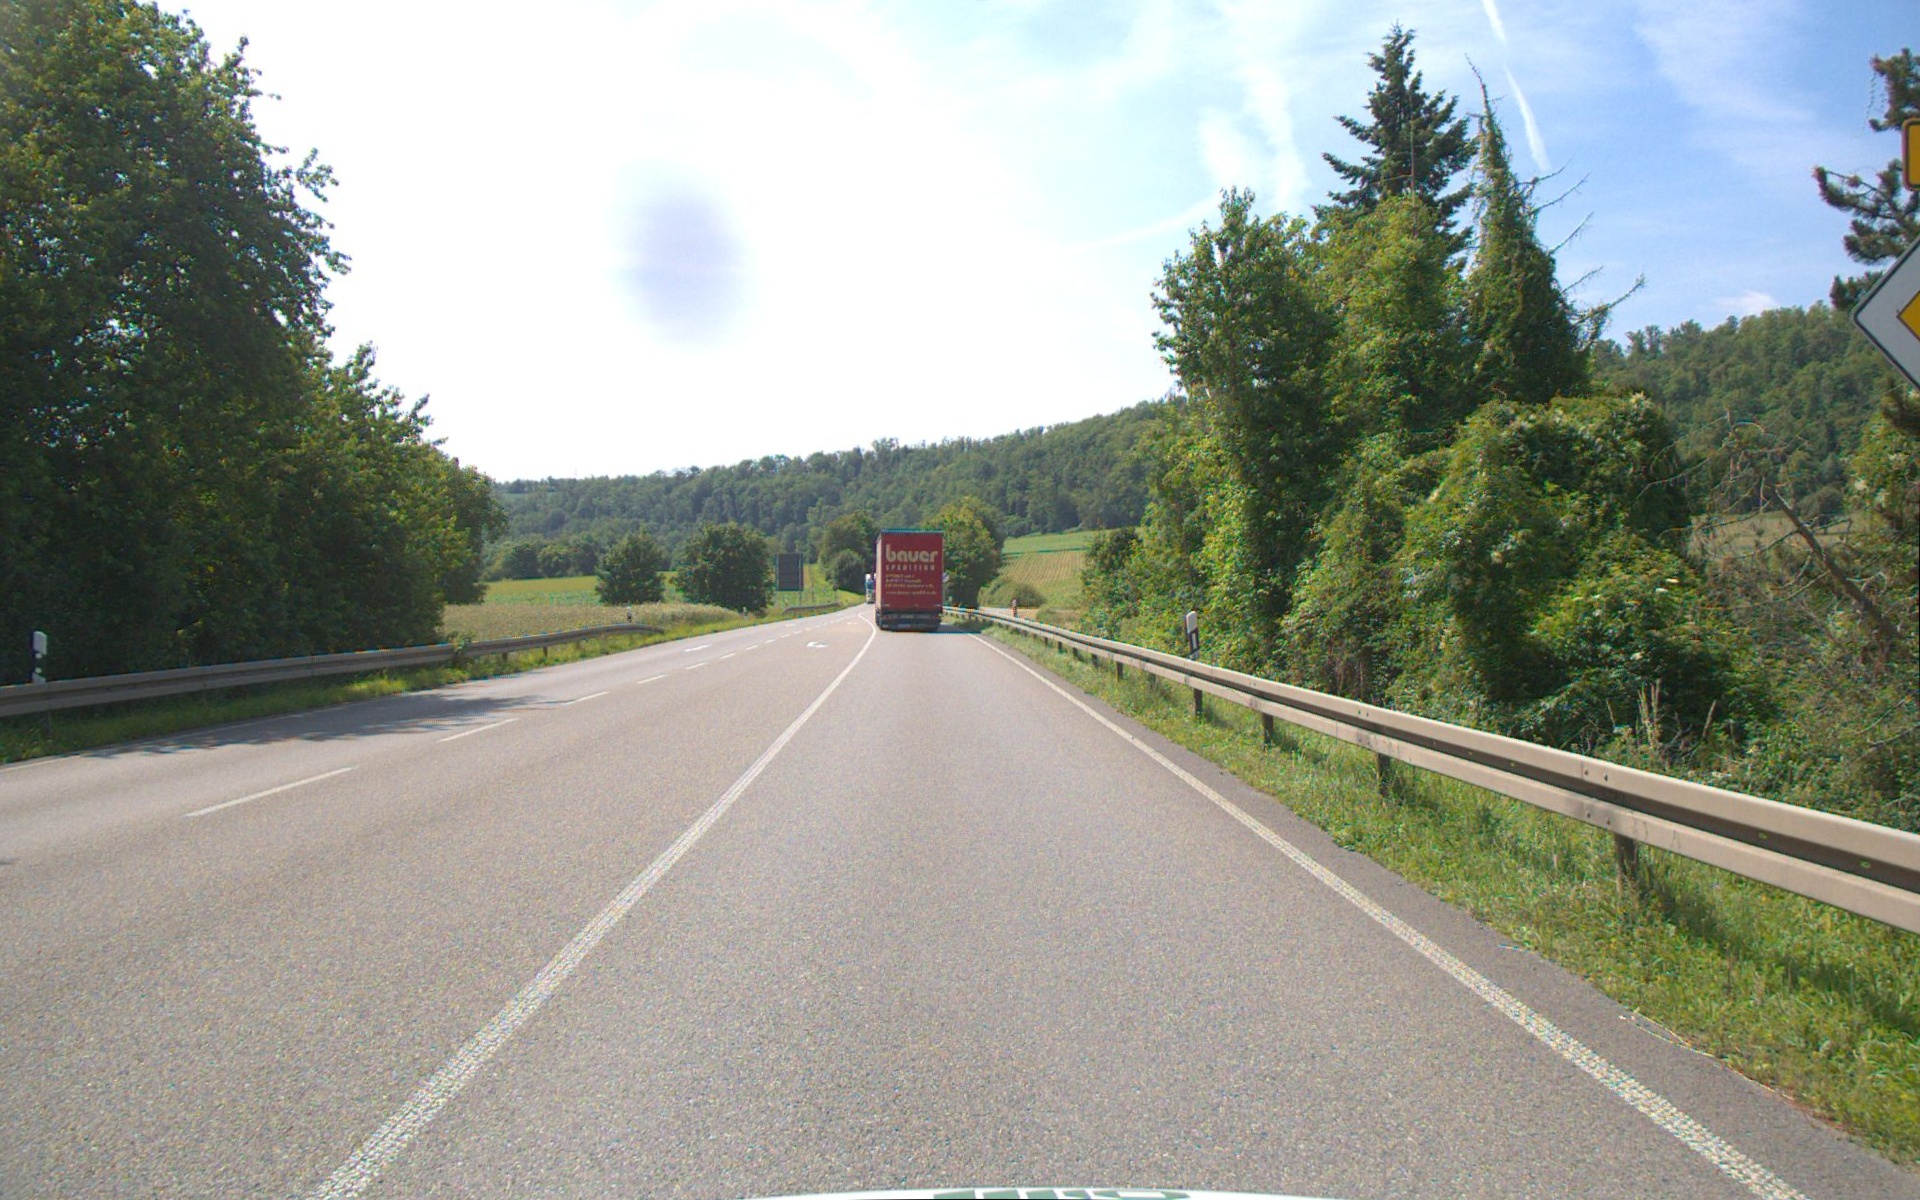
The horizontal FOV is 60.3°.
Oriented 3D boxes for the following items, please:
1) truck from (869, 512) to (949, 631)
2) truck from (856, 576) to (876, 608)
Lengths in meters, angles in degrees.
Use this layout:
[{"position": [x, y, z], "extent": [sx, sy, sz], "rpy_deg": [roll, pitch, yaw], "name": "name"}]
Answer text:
[{"position": [-2.346, -1.209, 72.361], "extent": [3.109, 4.706, 13.536], "rpy_deg": [0, 1, -3], "name": "truck"}, {"position": [-12.987, -1.097, 229.299], "extent": [2.479, 4.191, 6.019], "rpy_deg": [-2, 0, -1], "name": "truck"}]
